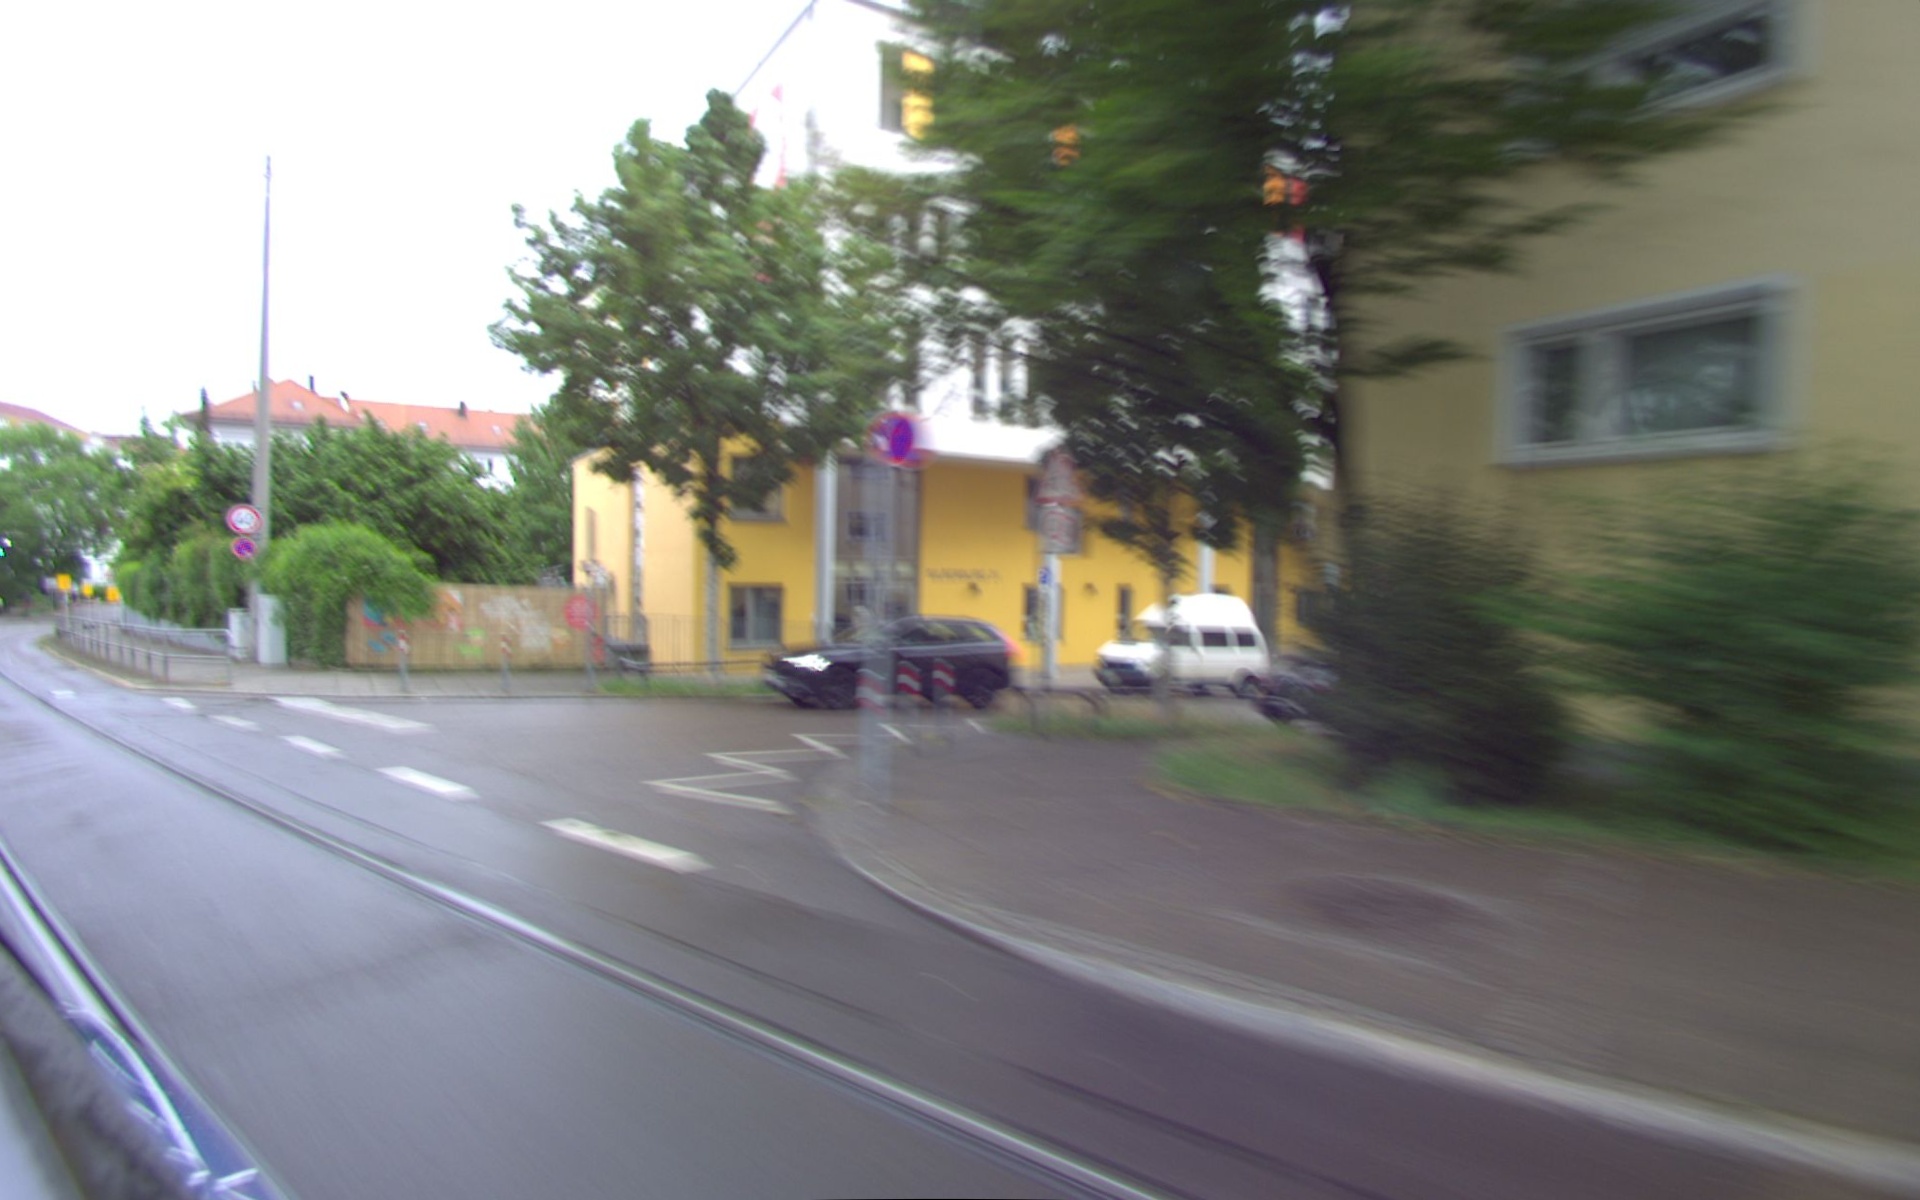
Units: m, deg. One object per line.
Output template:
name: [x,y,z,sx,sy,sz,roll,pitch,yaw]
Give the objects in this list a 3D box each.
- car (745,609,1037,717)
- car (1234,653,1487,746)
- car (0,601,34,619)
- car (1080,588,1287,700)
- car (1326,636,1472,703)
car: [-1.181,1.140,18.066,4.690,1.690,2.077,4,-2,-31]
car: [6.949,1.708,17.490,4.059,1.358,1.956,4,-2,-31]
car: [-81.474,0.840,87.238,1.770,1.521,4.011,0,1,-33]
car: [5.693,1.153,25.556,4.986,2.548,2.006,4,-2,-31]
car: [13.104,2.084,30.203,4.059,1.771,1.956,4,-2,-31]
